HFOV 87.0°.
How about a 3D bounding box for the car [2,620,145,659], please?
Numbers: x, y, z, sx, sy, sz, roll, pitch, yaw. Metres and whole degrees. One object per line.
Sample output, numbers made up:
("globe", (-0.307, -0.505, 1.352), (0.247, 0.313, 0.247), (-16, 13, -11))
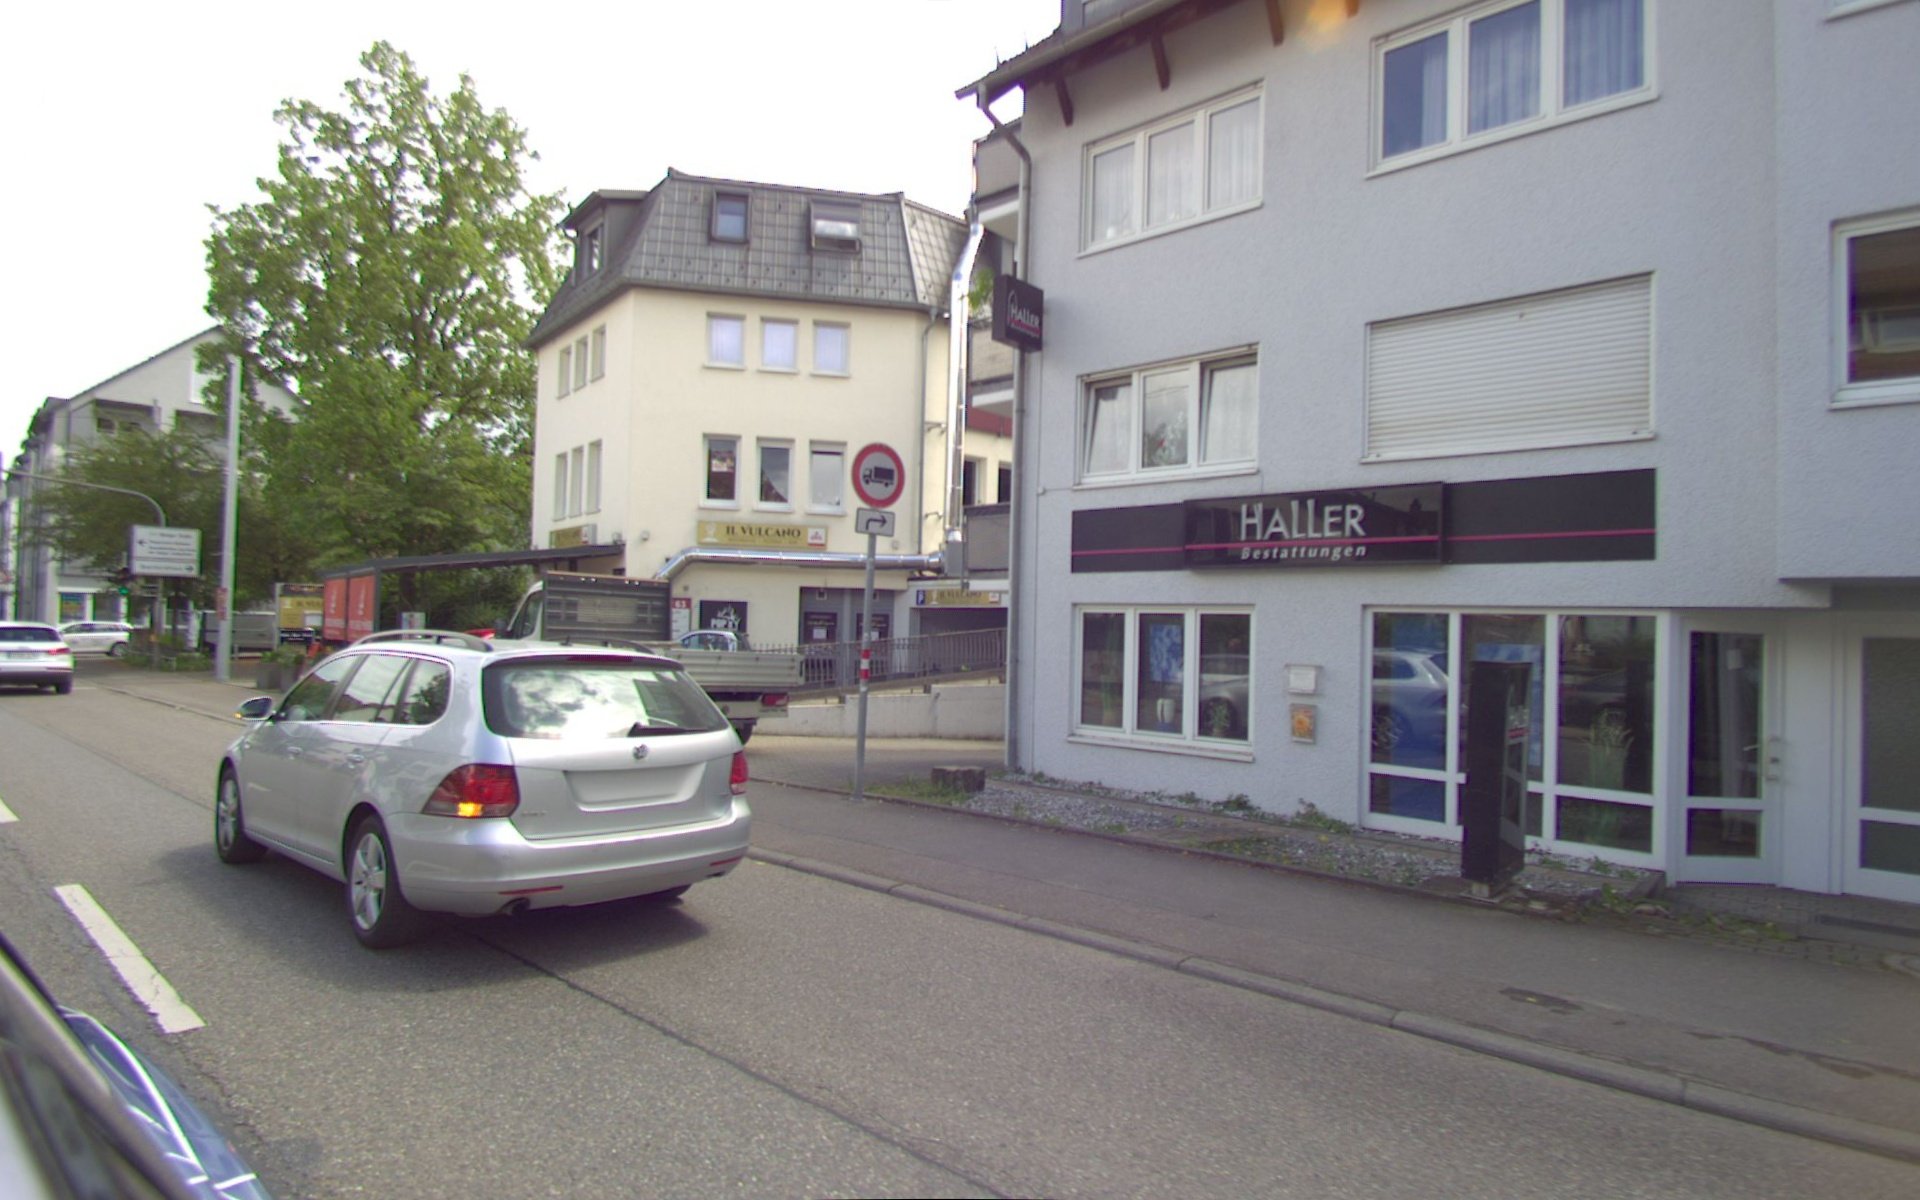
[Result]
("car", (-36.127, 1.607, 41.329), (1.821, 1.525, 4.168), (-2, -3, 41))

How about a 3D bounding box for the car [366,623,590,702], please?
("car", (-9.588, 1.182, 20.338), (1.802, 1.436, 3.657), (-1, -2, 38))

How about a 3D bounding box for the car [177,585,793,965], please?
("car", (-3.114, 0.794, 6.153), (4.373, 1.514, 1.710), (-1, -5, 41))

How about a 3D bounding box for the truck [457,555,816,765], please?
("truck", (-4.900, 0.722, 14.549), (6.328, 2.398, 2.199), (0, -2, 44))

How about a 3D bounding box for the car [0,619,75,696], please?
("car", (-21.131, 1.226, 22.378), (4.158, 1.583, 1.787), (-1, -4, 42))

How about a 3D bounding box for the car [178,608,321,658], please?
("car", (-30.239, 1.395, 43.167), (2.093, 2.024, 4.576), (-1, -2, 38))

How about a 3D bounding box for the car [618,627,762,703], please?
("car", (-5.687, 1.366, 21.589), (2.802, 1.481, 1.569), (2, -1, -10))
